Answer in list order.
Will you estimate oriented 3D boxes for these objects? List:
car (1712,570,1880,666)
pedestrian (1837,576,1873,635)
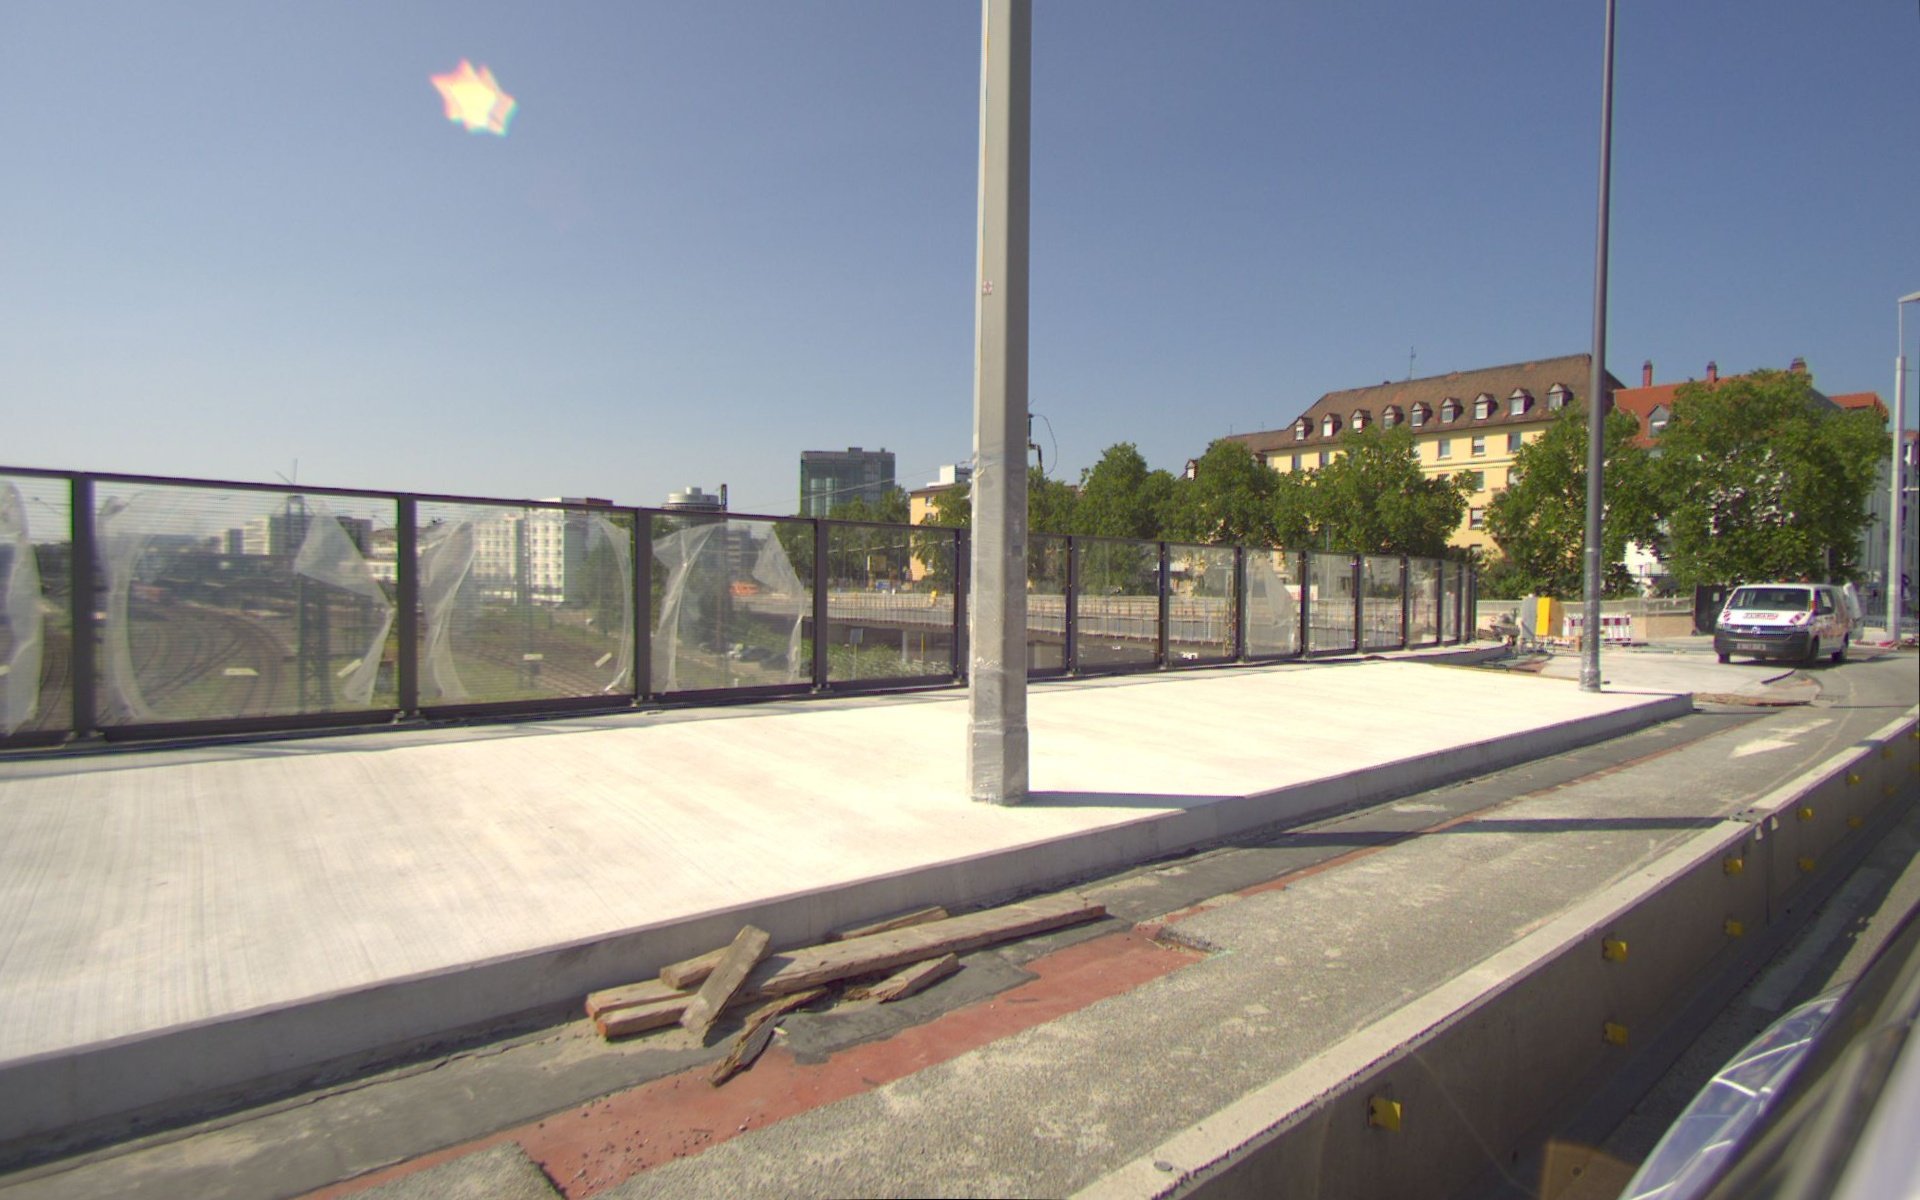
[{"bbox_3d":[20.796,0.313,25.046,6.353,2.116,1.938,-1,2,-39],"label":"car"},{"bbox_3d":[31.358,0.190,35.459,0.828,2.009,0.761,-1,3,-40],"label":"pedestrian"}]
